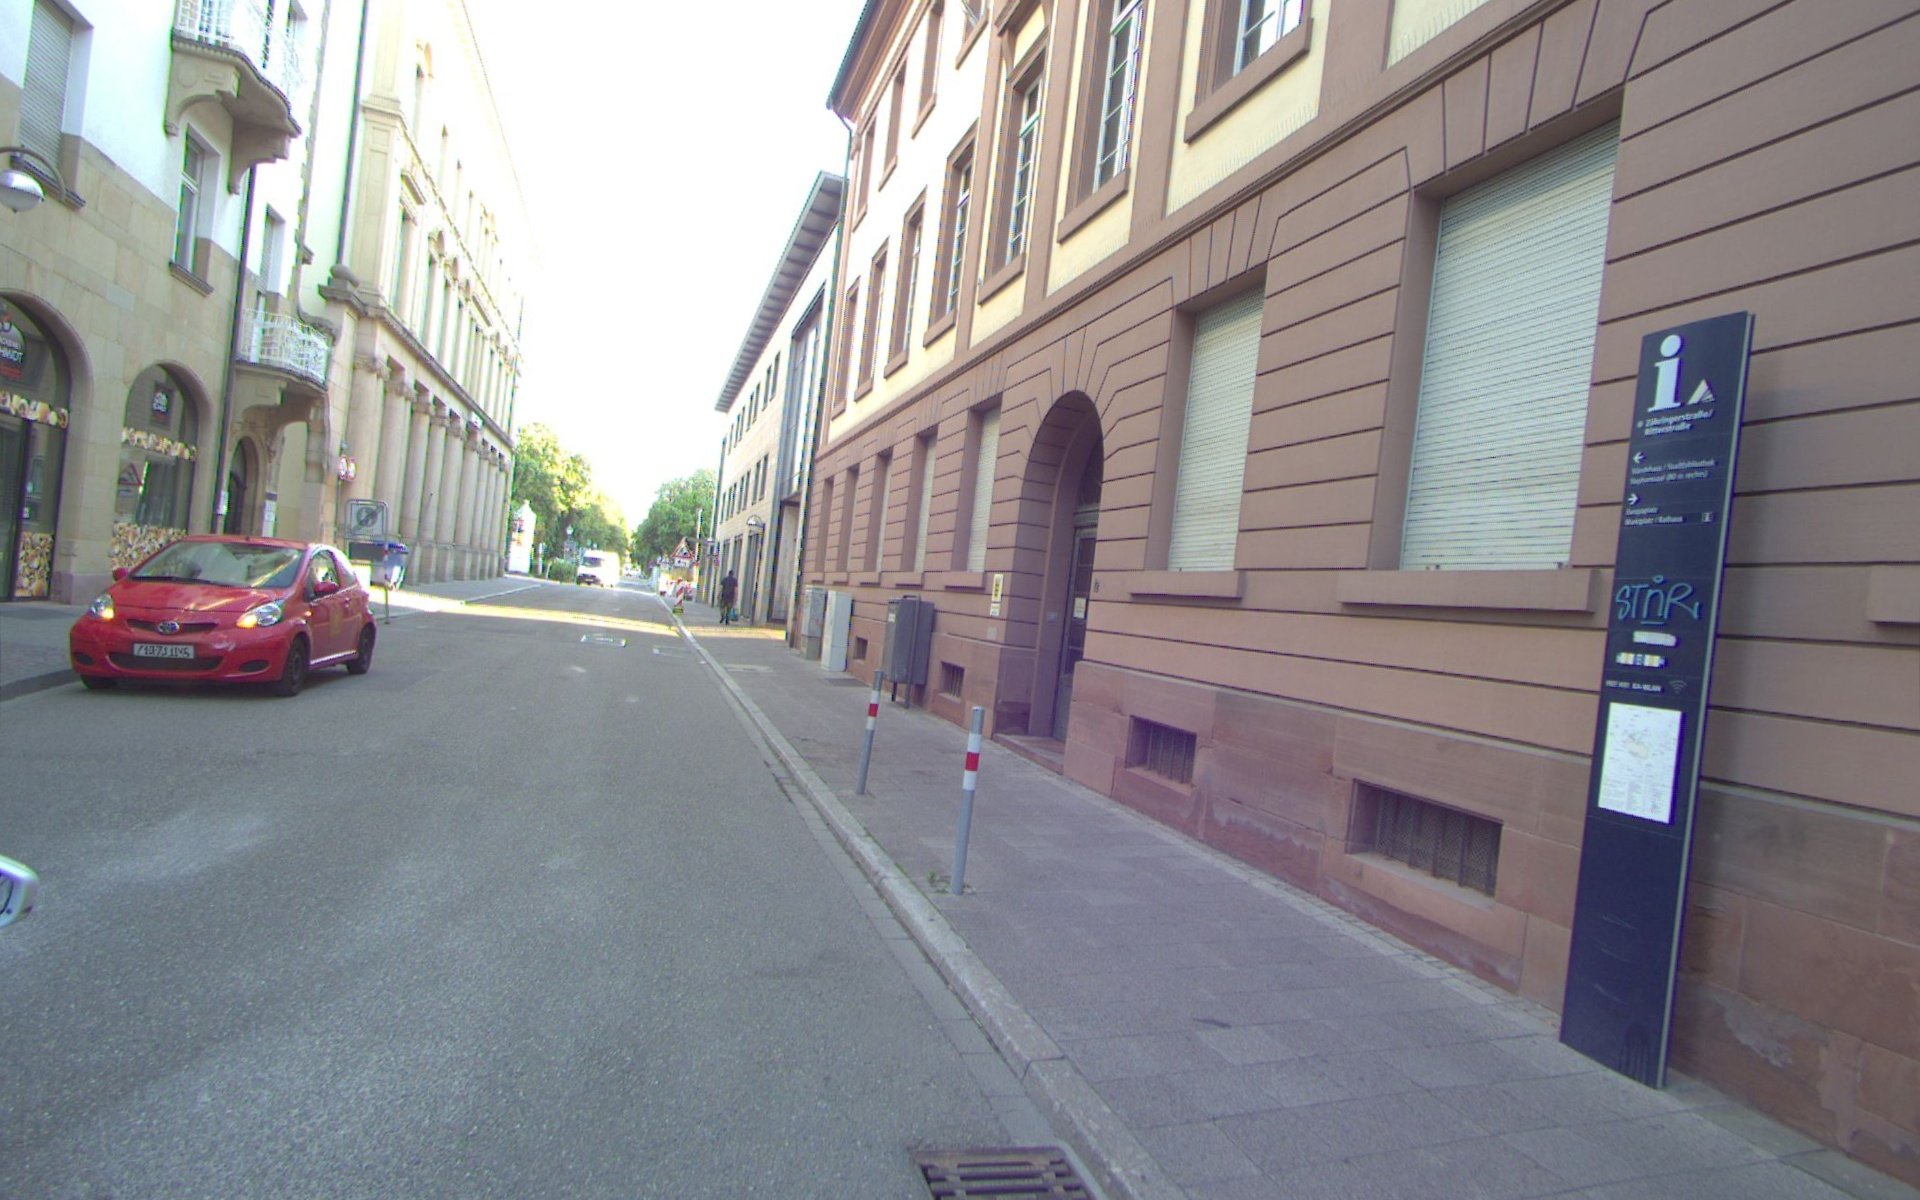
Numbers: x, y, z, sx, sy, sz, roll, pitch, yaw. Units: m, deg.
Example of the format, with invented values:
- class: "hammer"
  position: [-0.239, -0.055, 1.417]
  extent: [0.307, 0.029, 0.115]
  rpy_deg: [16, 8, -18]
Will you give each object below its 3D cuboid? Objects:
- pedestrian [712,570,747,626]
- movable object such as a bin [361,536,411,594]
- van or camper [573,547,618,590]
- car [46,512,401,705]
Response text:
- class: "pedestrian"
  position: [-7.727, -0.063, 33.750]
  extent: [0.988, 1.827, 0.878]
  rpy_deg: [2, 1, -19]
- class: "movable object such as a bin"
  position: [-16.372, -0.985, 28.707]
  extent: [0.819, 1.521, 1.286]
  rpy_deg: [7, 0, -17]
- class: "van or camper"
  position: [-25.838, -2.201, 71.499]
  extent: [2.192, 2.616, 6.351]
  rpy_deg: [7, 0, -16]
- class: "car"
  position: [-7.108, 0.048, 10.215]
  extent: [1.637, 1.488, 3.917]
  rpy_deg: [4, 0, -17]
